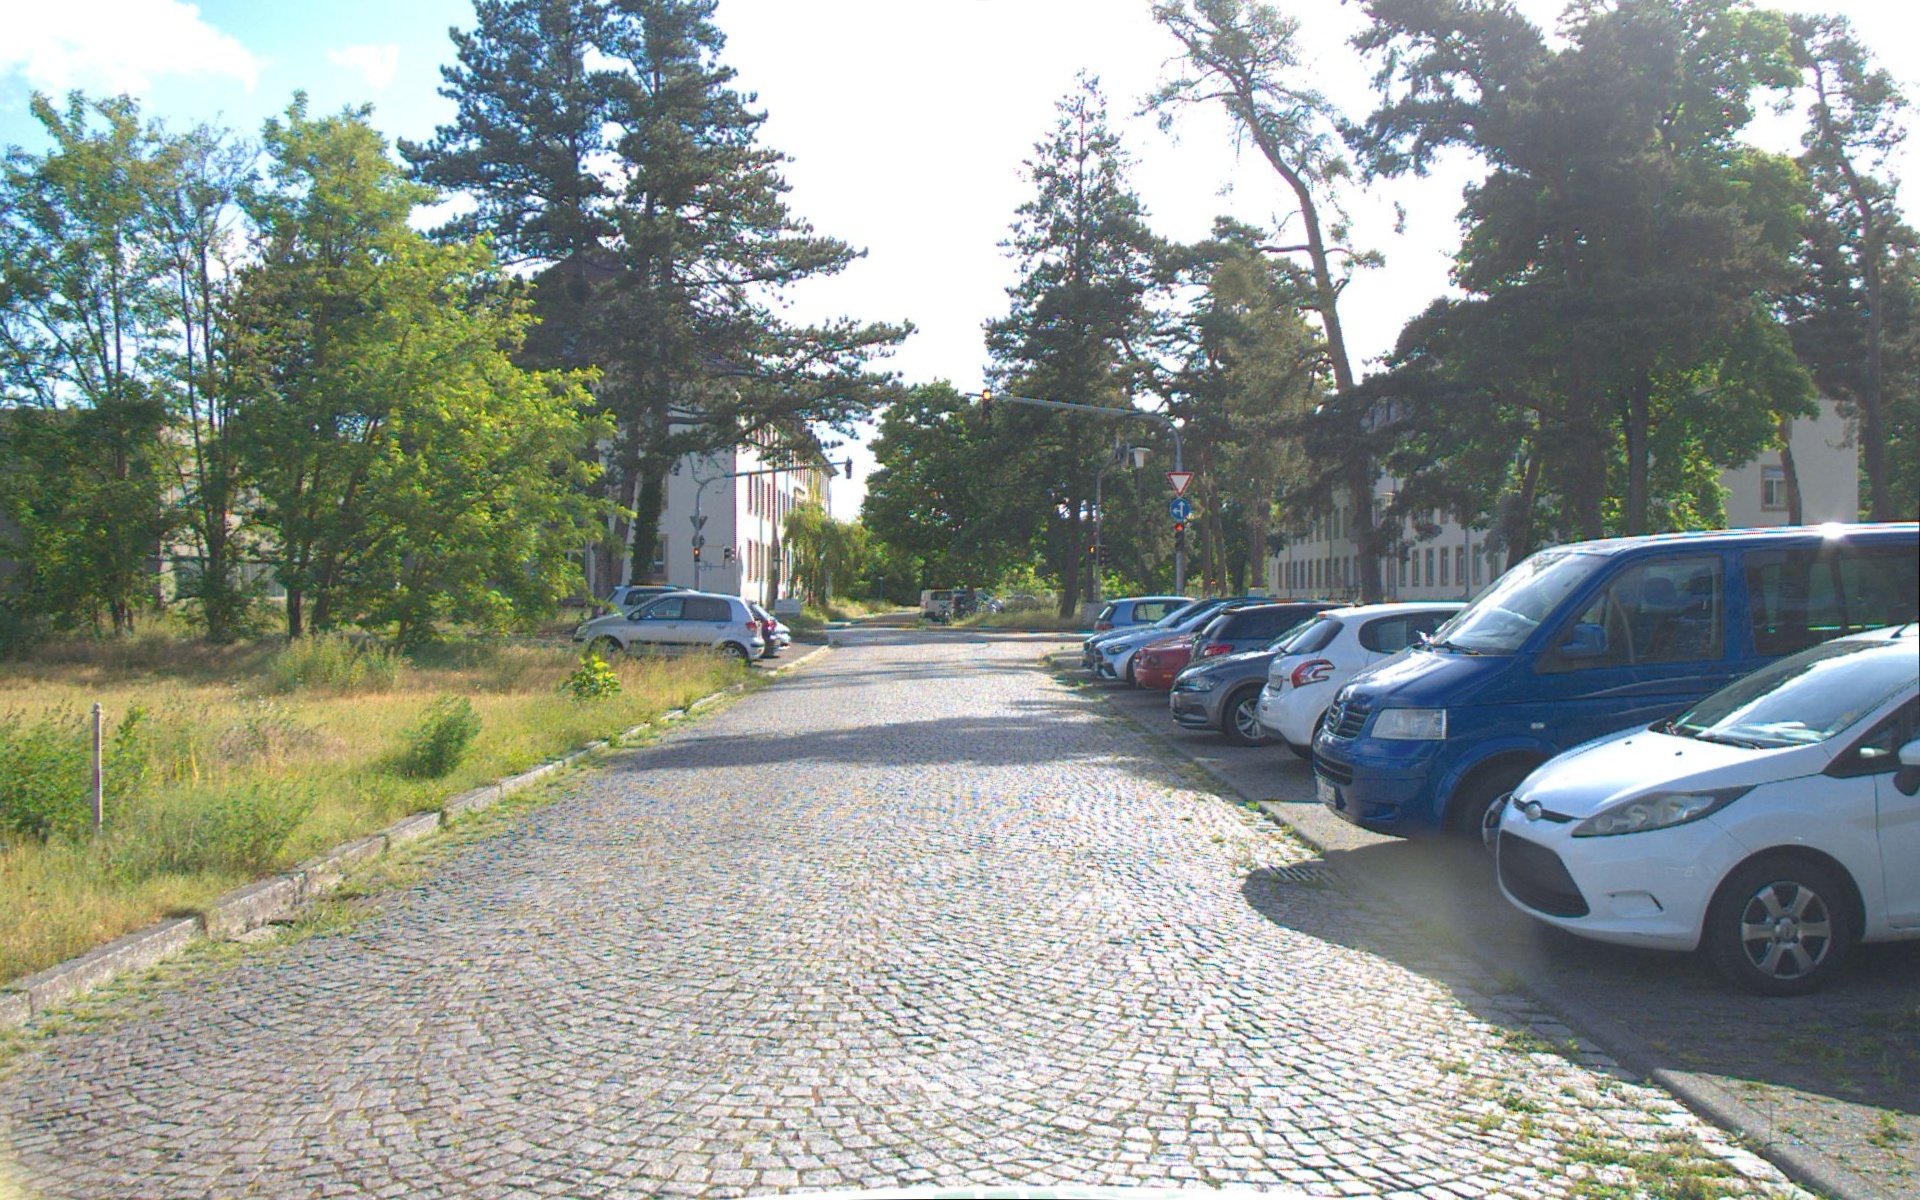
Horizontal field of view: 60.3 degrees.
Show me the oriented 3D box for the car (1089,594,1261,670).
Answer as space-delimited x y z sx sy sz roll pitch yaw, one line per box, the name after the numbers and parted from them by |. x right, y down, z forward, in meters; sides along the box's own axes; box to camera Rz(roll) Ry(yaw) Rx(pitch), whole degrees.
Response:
4.356 0.640 33.842 3.276 1.508 1.645 0 0 -2 | car

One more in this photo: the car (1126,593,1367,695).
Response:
4.492 0.670 26.250 3.530 1.556 1.645 0 0 -2 | car

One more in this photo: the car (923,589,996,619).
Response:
-0.063 0.246 100.238 4.390 1.758 1.999 1 0 -2 | car

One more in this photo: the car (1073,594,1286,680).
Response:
4.094 0.674 31.197 3.758 1.556 1.645 0 0 -2 | car

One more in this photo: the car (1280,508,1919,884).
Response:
4.496 0.514 10.217 4.584 2.049 2.082 0 0 -4 | car

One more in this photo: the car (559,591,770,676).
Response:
-5.815 0.635 32.908 3.908 1.628 1.999 0 0 -4 | car

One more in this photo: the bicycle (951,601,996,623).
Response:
0.657 0.602 82.777 2.134 1.119 0.805 1 0 -11 | bicycle

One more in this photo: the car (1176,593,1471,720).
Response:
4.594 0.692 21.202 3.408 1.556 1.645 0 0 -2 | car

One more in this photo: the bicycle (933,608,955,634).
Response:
-0.770 0.986 79.294 0.789 1.190 2.177 -2 0 -7 | bicycle

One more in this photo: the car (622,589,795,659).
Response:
-6.124 0.563 40.694 3.906 1.478 2.000 3 0 -1 | car

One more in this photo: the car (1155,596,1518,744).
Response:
4.076 0.735 18.275 3.601 1.493 1.645 -1 0 -2 | car

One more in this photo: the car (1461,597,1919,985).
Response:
4.366 0.752 7.536 3.645 1.514 1.644 -1 0 -3 | car

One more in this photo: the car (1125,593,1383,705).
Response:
4.185 0.679 23.887 3.408 1.556 1.645 0 0 -2 | car

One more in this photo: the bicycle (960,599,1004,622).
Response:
1.110 0.522 84.100 2.134 1.119 0.805 1 0 -11 | bicycle

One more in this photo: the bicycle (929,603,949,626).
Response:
-1.053 0.724 82.414 0.789 1.119 2.177 1 0 -6 | bicycle

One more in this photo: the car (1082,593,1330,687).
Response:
4.181 0.661 28.427 3.955 1.556 1.644 0 0 -5 | car

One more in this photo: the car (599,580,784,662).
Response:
-6.162 0.469 38.293 3.907 1.629 2.000 3 0 -1 | car

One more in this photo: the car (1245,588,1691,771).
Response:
4.621 0.697 15.396 3.618 1.491 1.645 -2 0 0 | car
